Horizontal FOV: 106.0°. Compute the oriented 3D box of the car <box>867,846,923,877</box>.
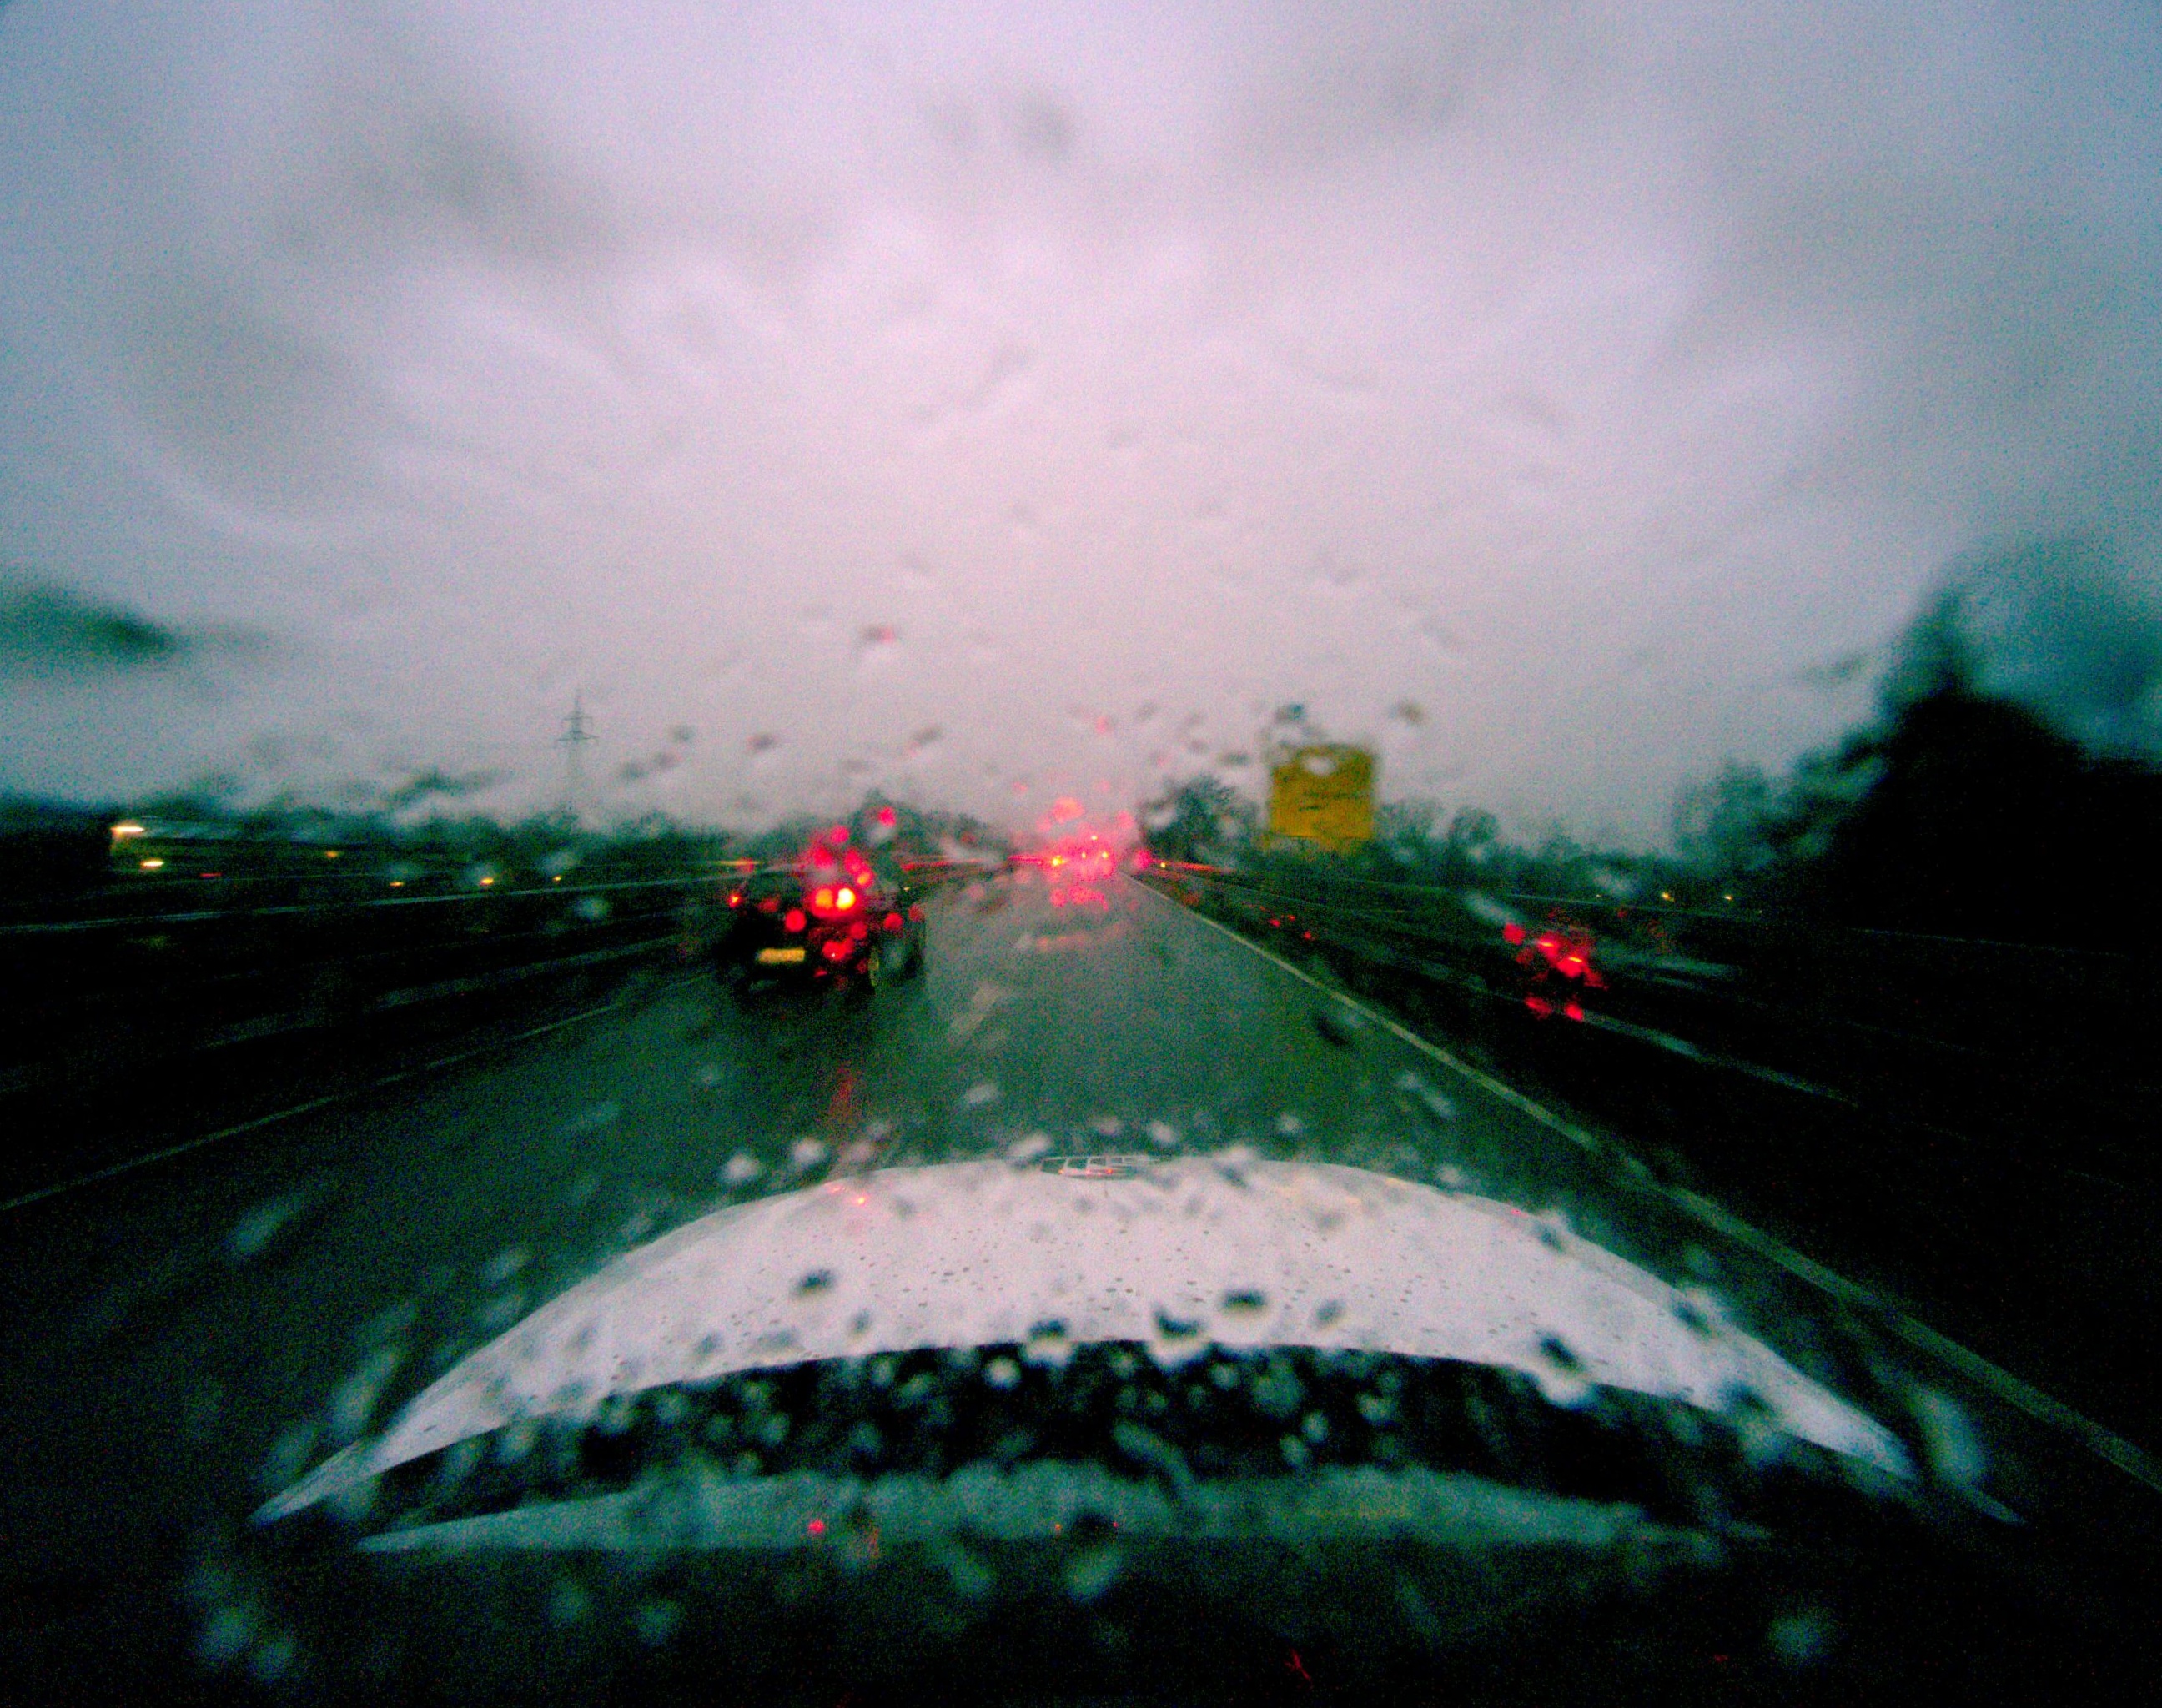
[{"bbox_3d":[-9.310,0.336,41.066,1.673,1.405,4.508,0,1,1],"label":"car"}]

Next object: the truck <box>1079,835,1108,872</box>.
[{"bbox_3d":[1.080,-0.005,70.763,2.375,2.909,4.672,0,-4,0],"label":"truck"}]

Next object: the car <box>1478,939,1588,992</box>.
[{"bbox_3d":[16.040,3.912,29.167,1.670,1.281,4.000,6,-1,1],"label":"car"}]

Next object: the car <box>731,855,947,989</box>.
[{"bbox_3d":[-2.946,0.738,10.818,1.620,1.392,4.001,0,1,1],"label":"car"}]

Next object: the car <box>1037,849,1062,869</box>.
[{"bbox_3d":[-2.515,0.439,66.489,1.828,1.537,3.999,0,-2,0],"label":"car"}]
